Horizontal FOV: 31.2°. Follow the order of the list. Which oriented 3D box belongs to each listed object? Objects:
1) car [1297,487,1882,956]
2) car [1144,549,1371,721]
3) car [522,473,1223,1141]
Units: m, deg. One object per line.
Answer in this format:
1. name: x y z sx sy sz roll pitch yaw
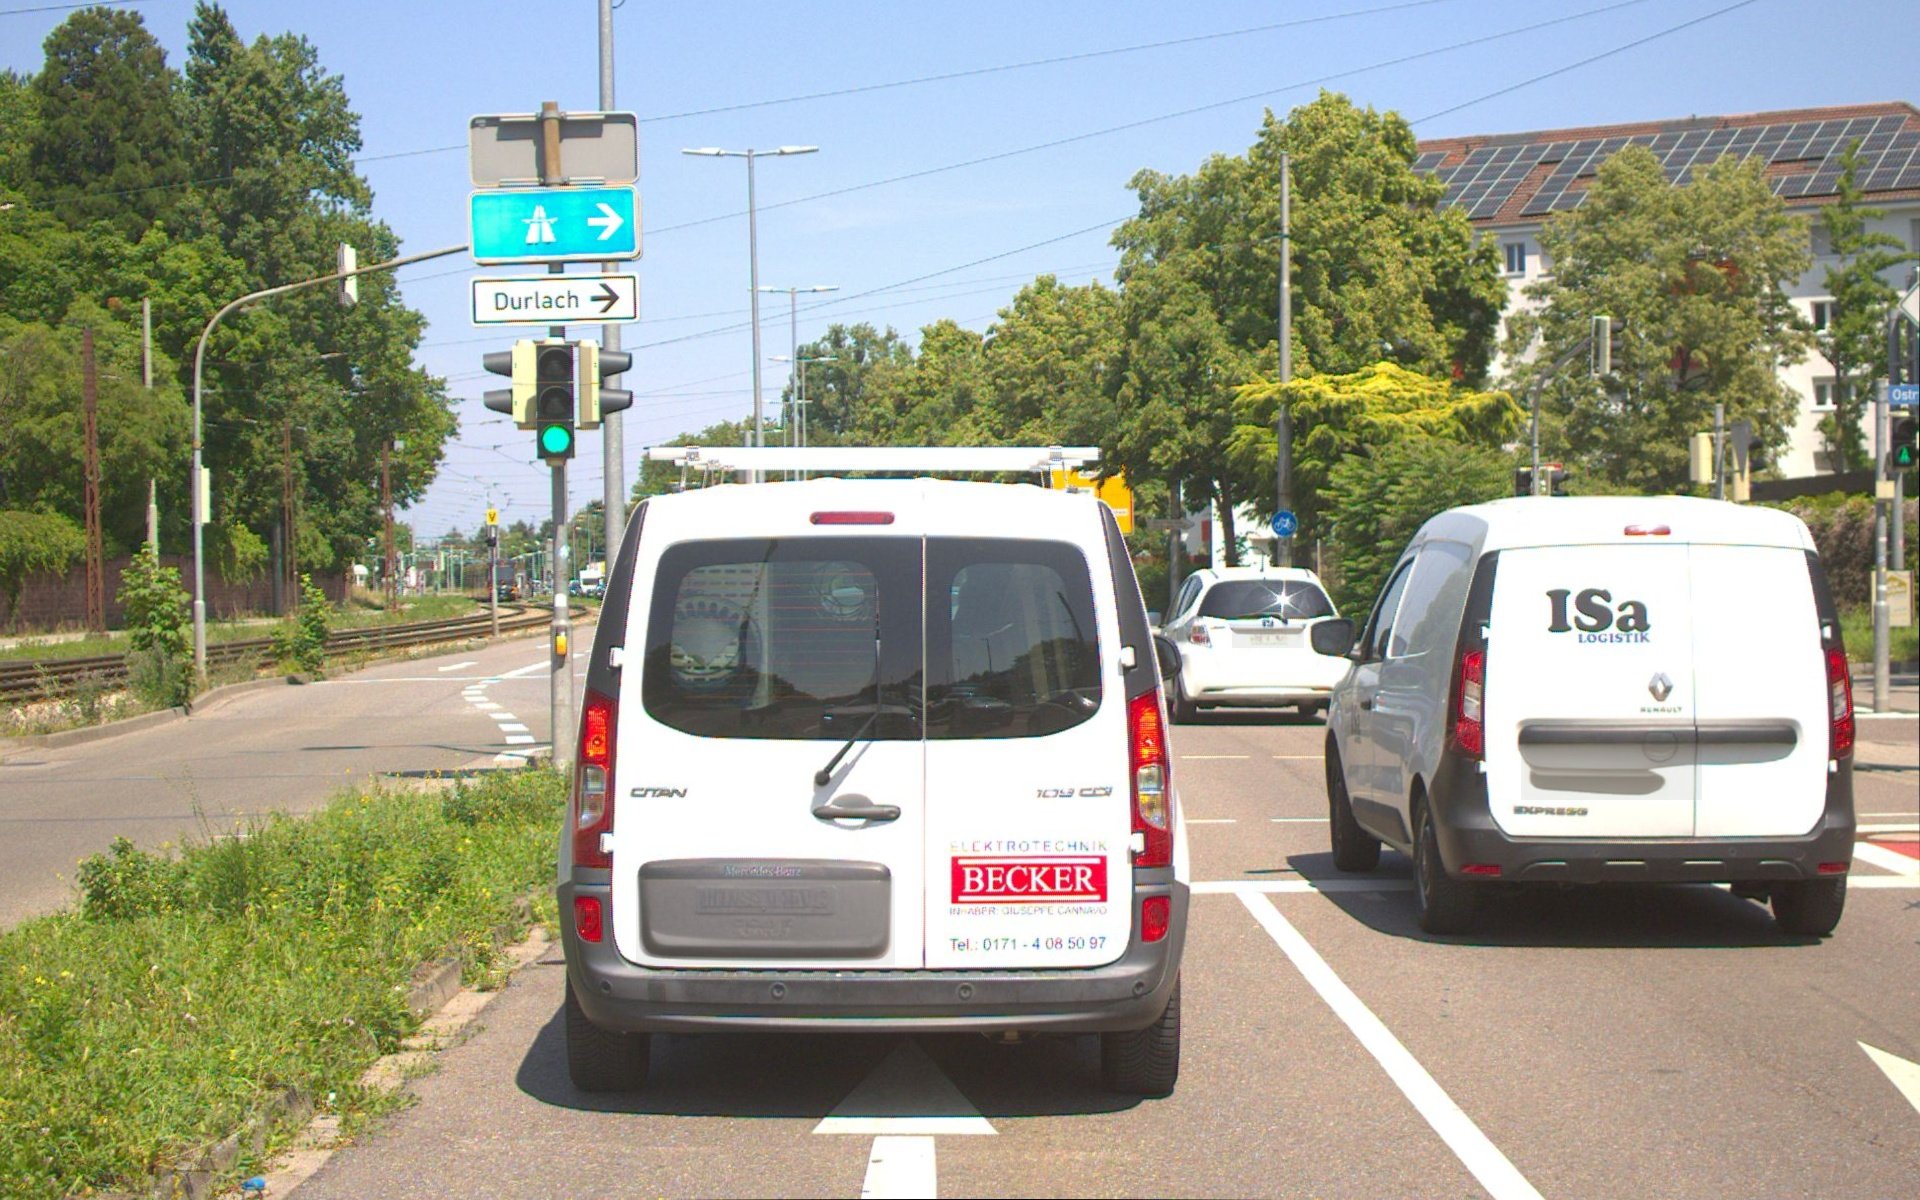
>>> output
1. car: 2.628 0.455 15.284 1.727 1.782 4.065 1 0 -2
2. car: 2.888 0.294 34.100 1.835 1.563 4.000 1 1 -1
3. car: -0.259 0.521 11.250 1.821 1.734 4.396 1 1 -1
